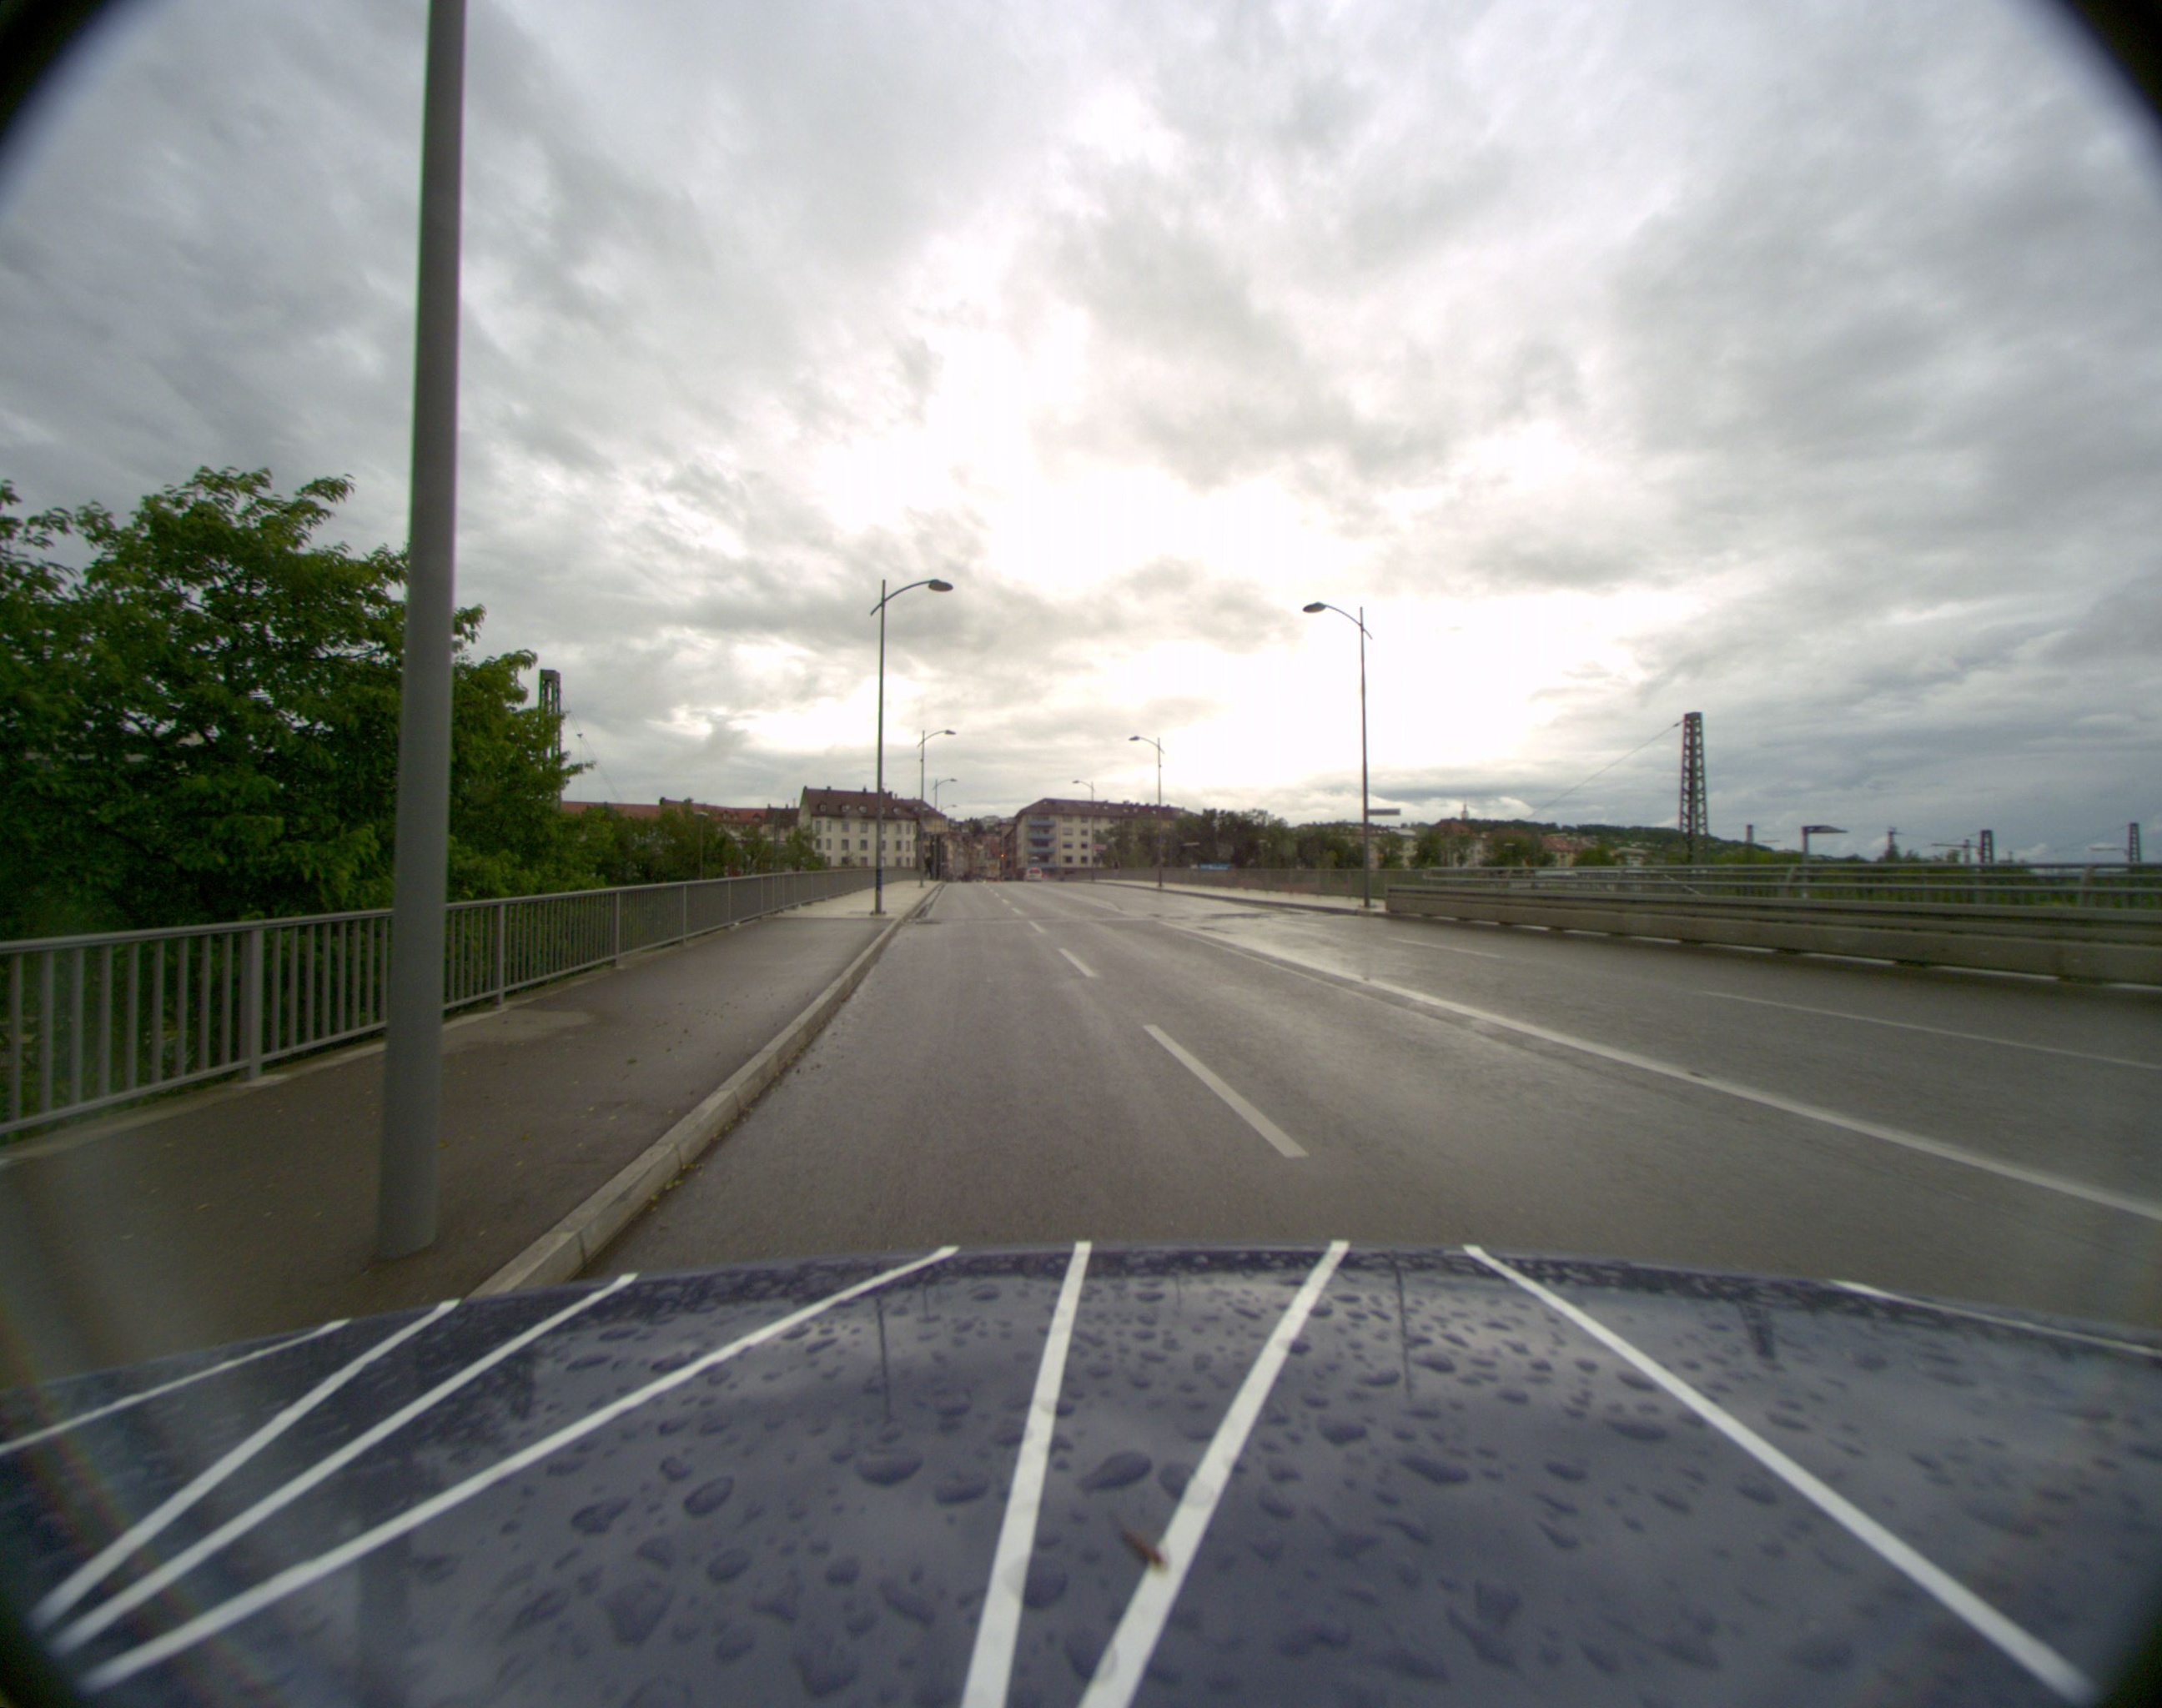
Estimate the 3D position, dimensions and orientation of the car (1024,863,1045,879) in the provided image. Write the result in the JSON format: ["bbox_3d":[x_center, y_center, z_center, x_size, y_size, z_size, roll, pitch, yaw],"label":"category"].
[{"bbox_3d":[-5.908,2.178,96.440,1.893,1.811,4.954,-2,-1,-12],"label":"car"}]
